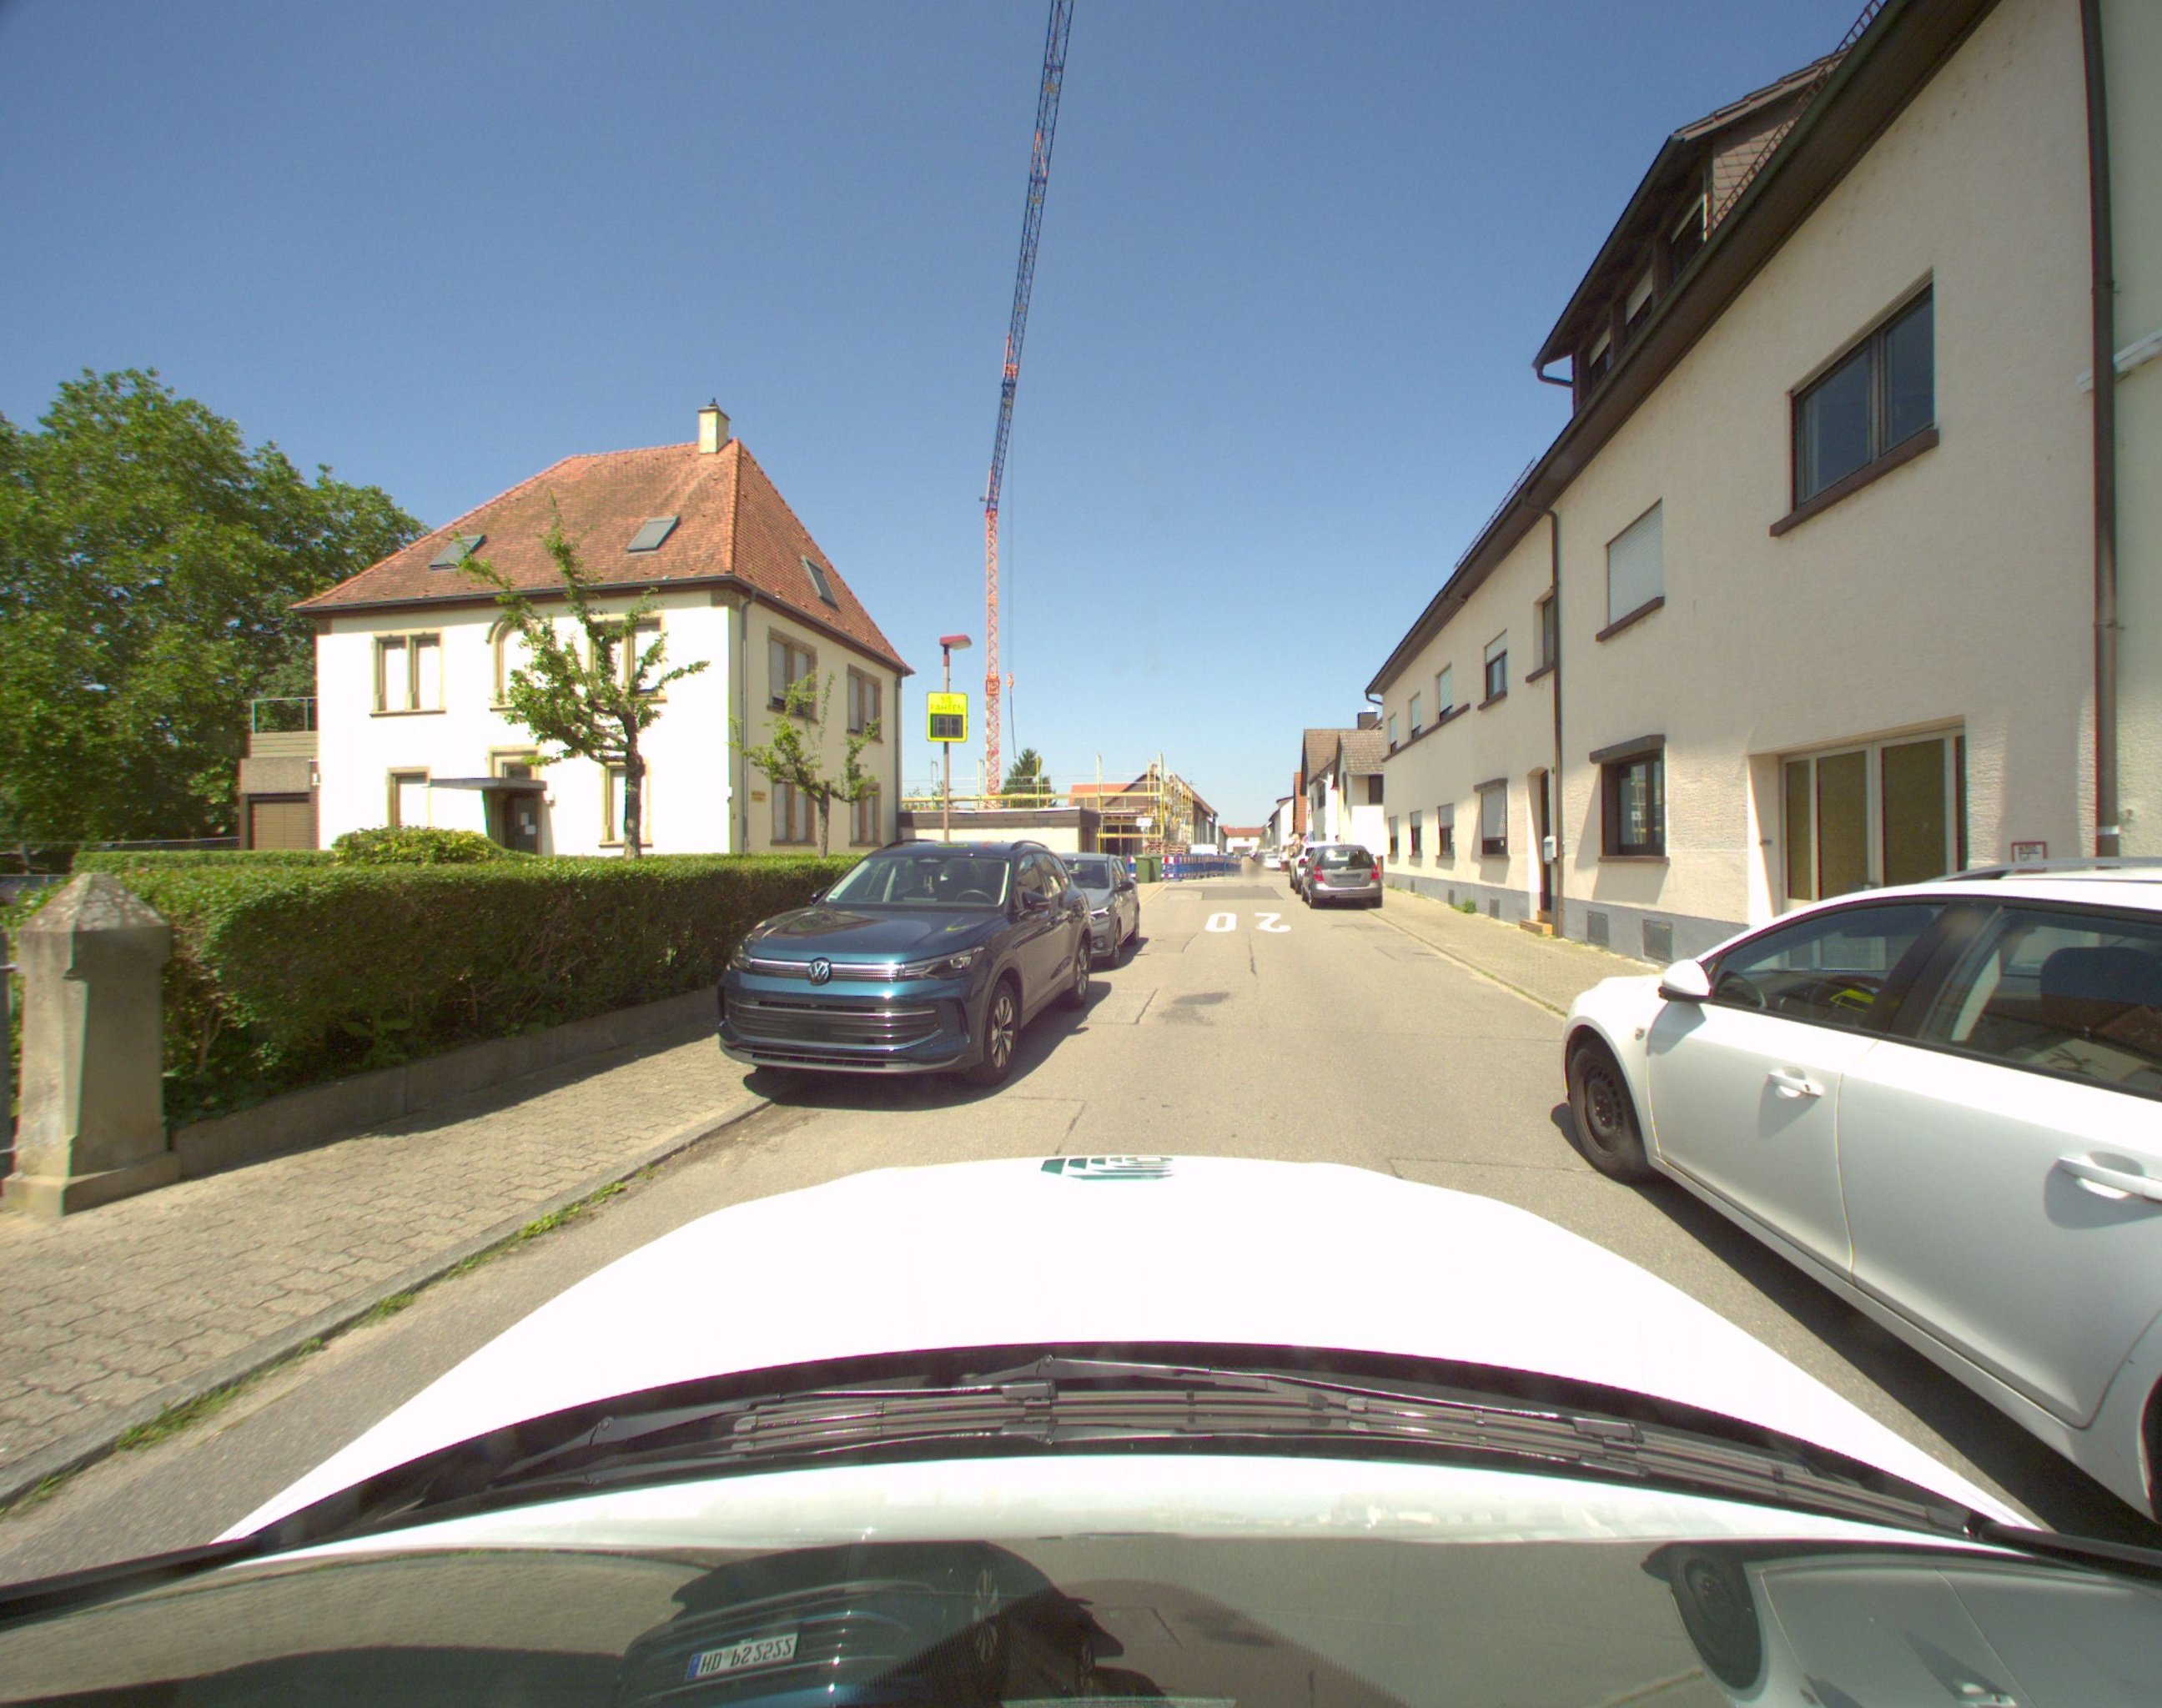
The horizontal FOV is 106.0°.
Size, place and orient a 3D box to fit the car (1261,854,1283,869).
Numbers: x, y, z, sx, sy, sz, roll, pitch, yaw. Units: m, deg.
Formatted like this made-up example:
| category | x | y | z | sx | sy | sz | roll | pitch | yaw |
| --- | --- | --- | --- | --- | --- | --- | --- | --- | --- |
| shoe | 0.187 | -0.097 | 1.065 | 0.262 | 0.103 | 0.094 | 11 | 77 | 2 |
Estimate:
| category | x | y | z | sx | sy | sz | roll | pitch | yaw |
| --- | --- | --- | --- | --- | --- | --- | --- | --- | --- |
| car | 18.305 | 0.706 | 78.099 | 1.954 | 1.387 | 4.013 | 0 | 0 | 12 |

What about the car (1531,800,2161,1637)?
| category | x | y | z | sx | sy | sz | roll | pitch | yaw |
| --- | --- | --- | --- | --- | --- | --- | --- | --- | --- |
| car | 3.080 | 0.674 | 2.309 | 1.875 | 1.542 | 4.254 | 0 | 0 | 10 |

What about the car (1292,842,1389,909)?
| category | x | y | z | sx | sy | sz | roll | pitch | yaw |
| --- | --- | --- | --- | --- | --- | --- | --- | --- | --- |
| car | 6.784 | 0.491 | 21.685 | 1.873 | 1.556 | 3.905 | 1 | 2 | 9 |

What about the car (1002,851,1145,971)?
| category | x | y | z | sx | sy | sz | roll | pitch | yaw |
| --- | --- | --- | --- | --- | --- | --- | --- | --- | --- |
| car | 0.045 | 0.717 | 12.013 | 1.427 | 1.474 | 3.797 | 0 | -1 | 10 |

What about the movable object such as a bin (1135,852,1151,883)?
| category | x | y | z | sx | sy | sz | roll | pitch | yaw |
| --- | --- | --- | --- | --- | --- | --- | --- | --- | --- |
| movable object such as a bin | 2.379 | 0.514 | 31.215 | 0.619 | 1.155 | 0.678 | 0 | 0 | 4 |

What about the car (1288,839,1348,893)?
| category | x | y | z | sx | sy | sz | roll | pitch | yaw |
| --- | --- | --- | --- | --- | --- | --- | --- | --- | --- |
| car | 7.732 | 0.329 | 26.799 | 1.554 | 1.613 | 3.554 | 0 | 2 | 11 |

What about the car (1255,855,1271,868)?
| category | x | y | z | sx | sy | sz | roll | pitch | yaw |
| --- | --- | --- | --- | --- | --- | --- | --- | --- | --- |
| car | 20.788 | 0.836 | 93.069 | 1.546 | 1.387 | 3.460 | 0 | 0 | 9 |

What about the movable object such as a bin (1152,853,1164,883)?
| category | x | y | z | sx | sy | sz | roll | pitch | yaw |
| --- | --- | --- | --- | --- | --- | --- | --- | --- | --- |
| movable object such as a bin | 2.991 | 0.532 | 31.603 | 0.430 | 1.155 | 0.364 | 0 | 0 | 1 |

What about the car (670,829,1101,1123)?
| category | x | y | z | sx | sy | sz | roll | pitch | yaw |
| --- | --- | --- | --- | --- | --- | --- | --- | --- | --- |
| car | -1.120 | 0.678 | 6.759 | 1.814 | 1.630 | 4.231 | 0 | 0 | 12 |
